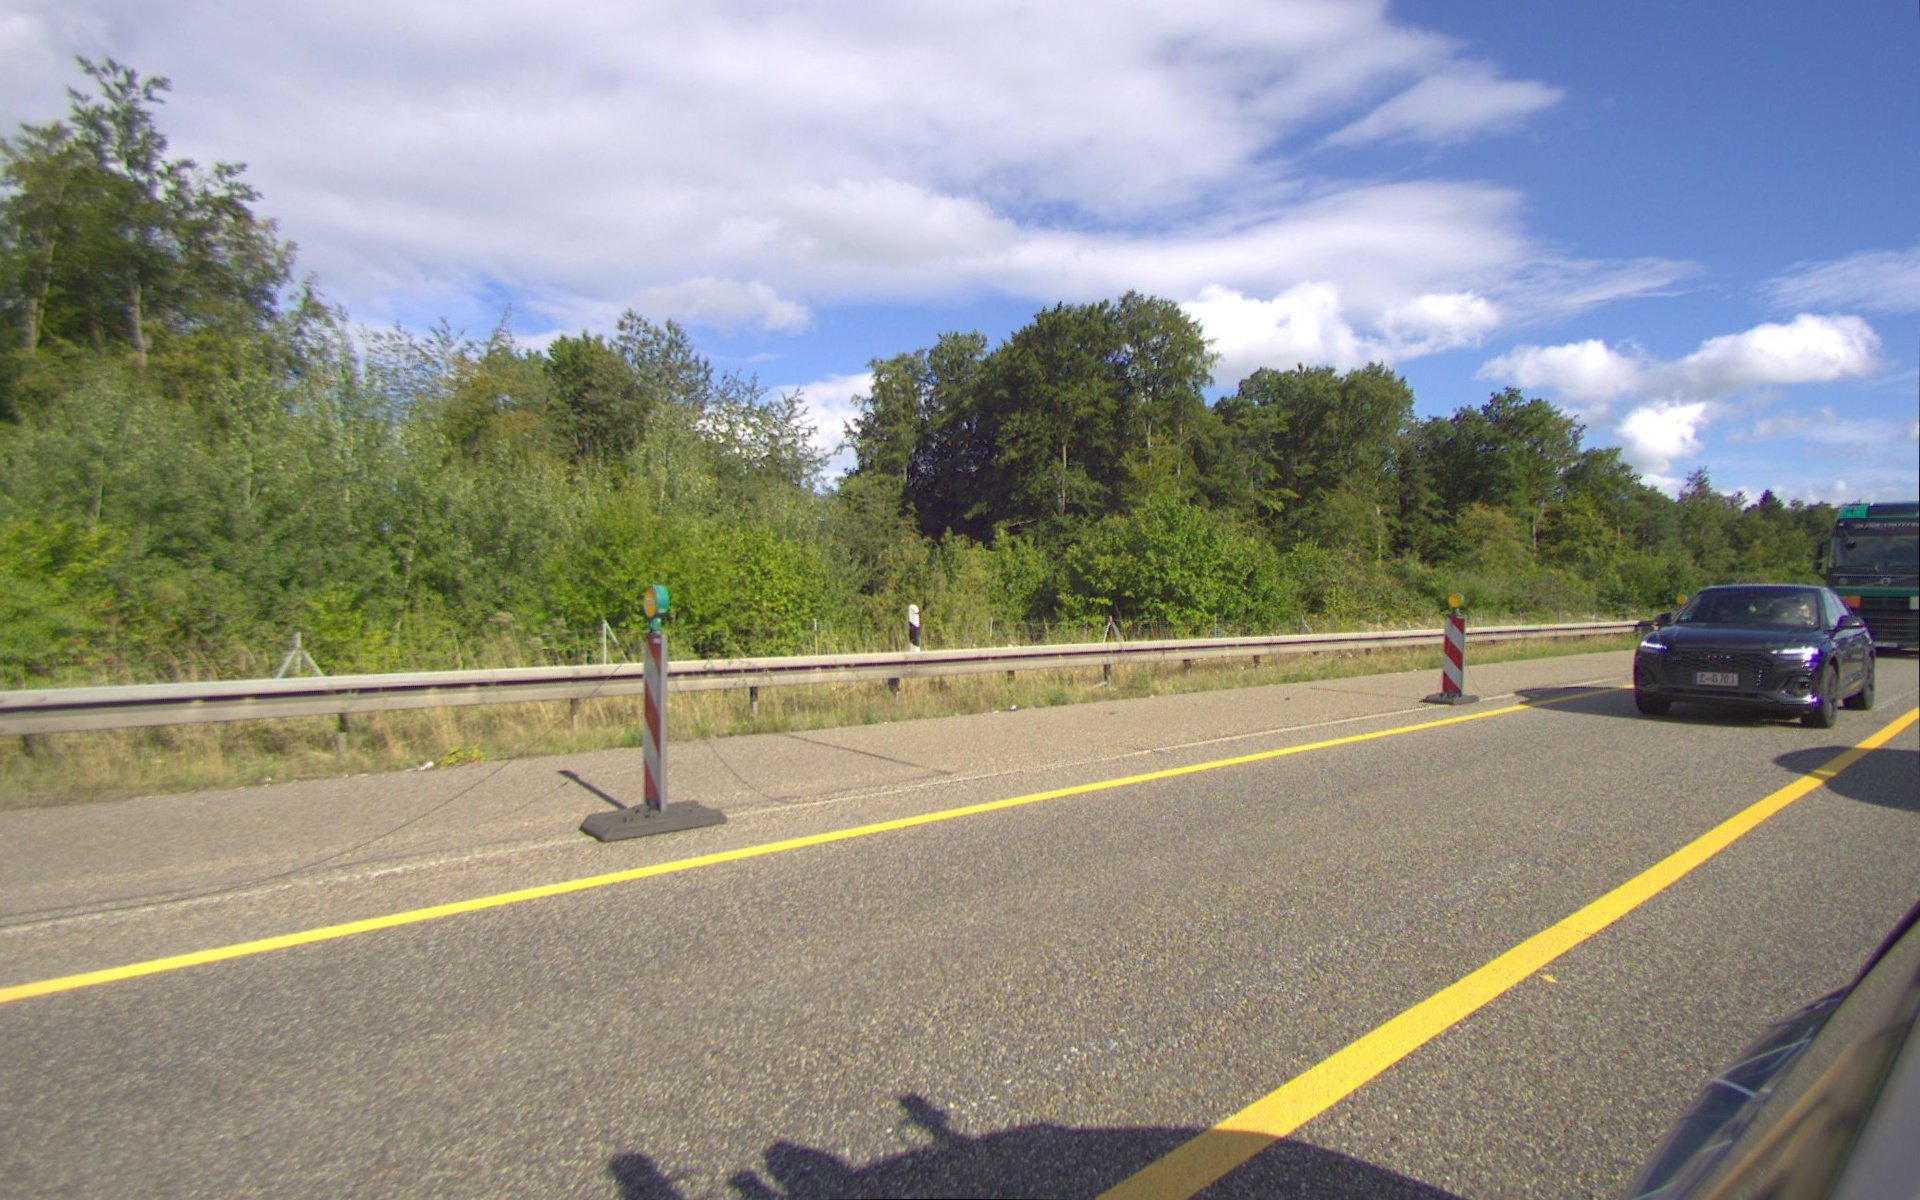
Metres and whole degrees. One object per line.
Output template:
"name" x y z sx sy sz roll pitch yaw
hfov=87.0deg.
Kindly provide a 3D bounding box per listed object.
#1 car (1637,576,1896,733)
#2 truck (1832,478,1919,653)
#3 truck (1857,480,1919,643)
"car" 10.123 0.537 12.583 4.219 1.622 1.781 -1 0 -41
"truck" 25.095 -0.864 26.364 6.735 4.151 2.526 -1 0 -40
"truck" 30.039 -0.988 30.512 13.957 4.196 2.469 0 0 -40
